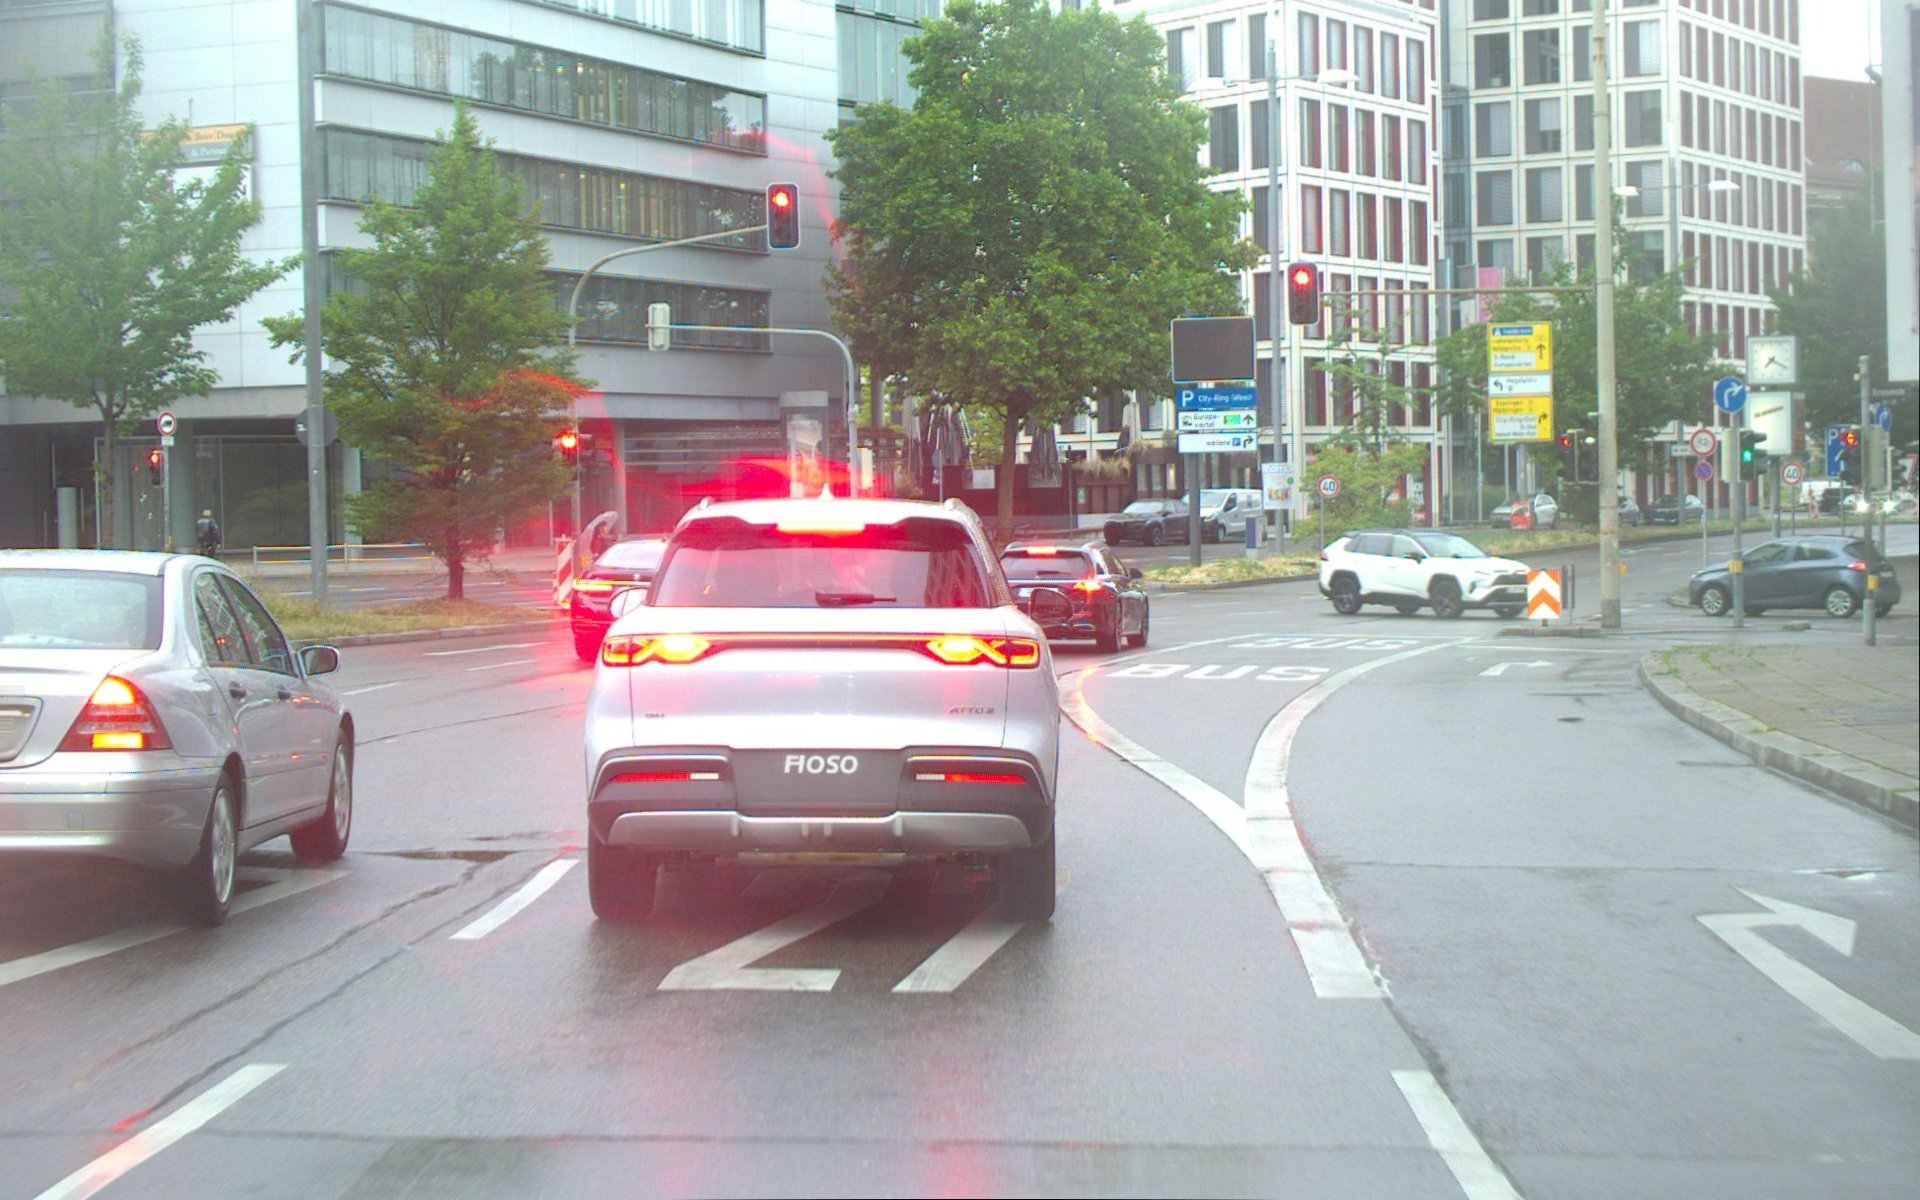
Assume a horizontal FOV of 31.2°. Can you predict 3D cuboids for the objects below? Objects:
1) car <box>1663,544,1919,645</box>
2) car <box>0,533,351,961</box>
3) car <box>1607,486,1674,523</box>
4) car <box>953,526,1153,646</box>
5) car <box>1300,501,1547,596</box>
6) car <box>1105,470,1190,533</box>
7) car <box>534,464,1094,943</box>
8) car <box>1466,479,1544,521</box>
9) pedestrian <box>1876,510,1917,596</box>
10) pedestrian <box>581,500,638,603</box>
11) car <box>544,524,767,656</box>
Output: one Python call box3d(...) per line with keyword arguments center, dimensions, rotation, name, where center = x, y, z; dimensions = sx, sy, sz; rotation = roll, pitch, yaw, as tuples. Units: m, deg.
box3d(center=(15.839, -0.131, 65.339), dimensions=(4.351, 1.759, 2.049), rotation=(2, 2, 35), name="car")
box3d(center=(-3.669, 0.477, 14.169), dimensions=(1.682, 1.481, 4.197), rotation=(0, 1, -2), name="car")
box3d(center=(33.197, -4.679, 167.701), dimensions=(1.997, 1.700, 4.302), rotation=(2, 3, 29), name="car")
box3d(center=(1.298, -0.230, 46.345), dimensions=(1.956, 1.525, 3.998), rotation=(1, 1, 13), name="car")
box3d(center=(8.788, -1.015, 65.484), dimensions=(1.994, 1.744, 4.530), rotation=(-1, 2, -39), name="car")
box3d(center=(6.608, -3.436, 120.724), dimensions=(1.739, 2.154, 4.489), rotation=(1, 1, 20), name="car")
box3d(center=(-0.592, 0.312, 14.519), dimensions=(1.993, 1.703, 4.483), rotation=(0, 1, -2), name="car")
box3d(center=(23.667, -4.359, 149.251), dimensions=(1.997, 1.700, 4.302), rotation=(2, 3, 29), name="car")
box3d(center=(18.328, -0.919, 67.276), dimensions=(0.728, 1.663, 0.690), rotation=(0, 0, 17), name="pedestrian")
box3d(center=(-5.917, -0.829, 58.066), dimensions=(0.922, 1.732, 0.730), rotation=(0, 1, -3), name="pedestrian")
box3d(center=(-3.671, -0.166, 42.117), dimensions=(1.955, 1.525, 3.999), rotation=(0, 1, 7), name="car")
